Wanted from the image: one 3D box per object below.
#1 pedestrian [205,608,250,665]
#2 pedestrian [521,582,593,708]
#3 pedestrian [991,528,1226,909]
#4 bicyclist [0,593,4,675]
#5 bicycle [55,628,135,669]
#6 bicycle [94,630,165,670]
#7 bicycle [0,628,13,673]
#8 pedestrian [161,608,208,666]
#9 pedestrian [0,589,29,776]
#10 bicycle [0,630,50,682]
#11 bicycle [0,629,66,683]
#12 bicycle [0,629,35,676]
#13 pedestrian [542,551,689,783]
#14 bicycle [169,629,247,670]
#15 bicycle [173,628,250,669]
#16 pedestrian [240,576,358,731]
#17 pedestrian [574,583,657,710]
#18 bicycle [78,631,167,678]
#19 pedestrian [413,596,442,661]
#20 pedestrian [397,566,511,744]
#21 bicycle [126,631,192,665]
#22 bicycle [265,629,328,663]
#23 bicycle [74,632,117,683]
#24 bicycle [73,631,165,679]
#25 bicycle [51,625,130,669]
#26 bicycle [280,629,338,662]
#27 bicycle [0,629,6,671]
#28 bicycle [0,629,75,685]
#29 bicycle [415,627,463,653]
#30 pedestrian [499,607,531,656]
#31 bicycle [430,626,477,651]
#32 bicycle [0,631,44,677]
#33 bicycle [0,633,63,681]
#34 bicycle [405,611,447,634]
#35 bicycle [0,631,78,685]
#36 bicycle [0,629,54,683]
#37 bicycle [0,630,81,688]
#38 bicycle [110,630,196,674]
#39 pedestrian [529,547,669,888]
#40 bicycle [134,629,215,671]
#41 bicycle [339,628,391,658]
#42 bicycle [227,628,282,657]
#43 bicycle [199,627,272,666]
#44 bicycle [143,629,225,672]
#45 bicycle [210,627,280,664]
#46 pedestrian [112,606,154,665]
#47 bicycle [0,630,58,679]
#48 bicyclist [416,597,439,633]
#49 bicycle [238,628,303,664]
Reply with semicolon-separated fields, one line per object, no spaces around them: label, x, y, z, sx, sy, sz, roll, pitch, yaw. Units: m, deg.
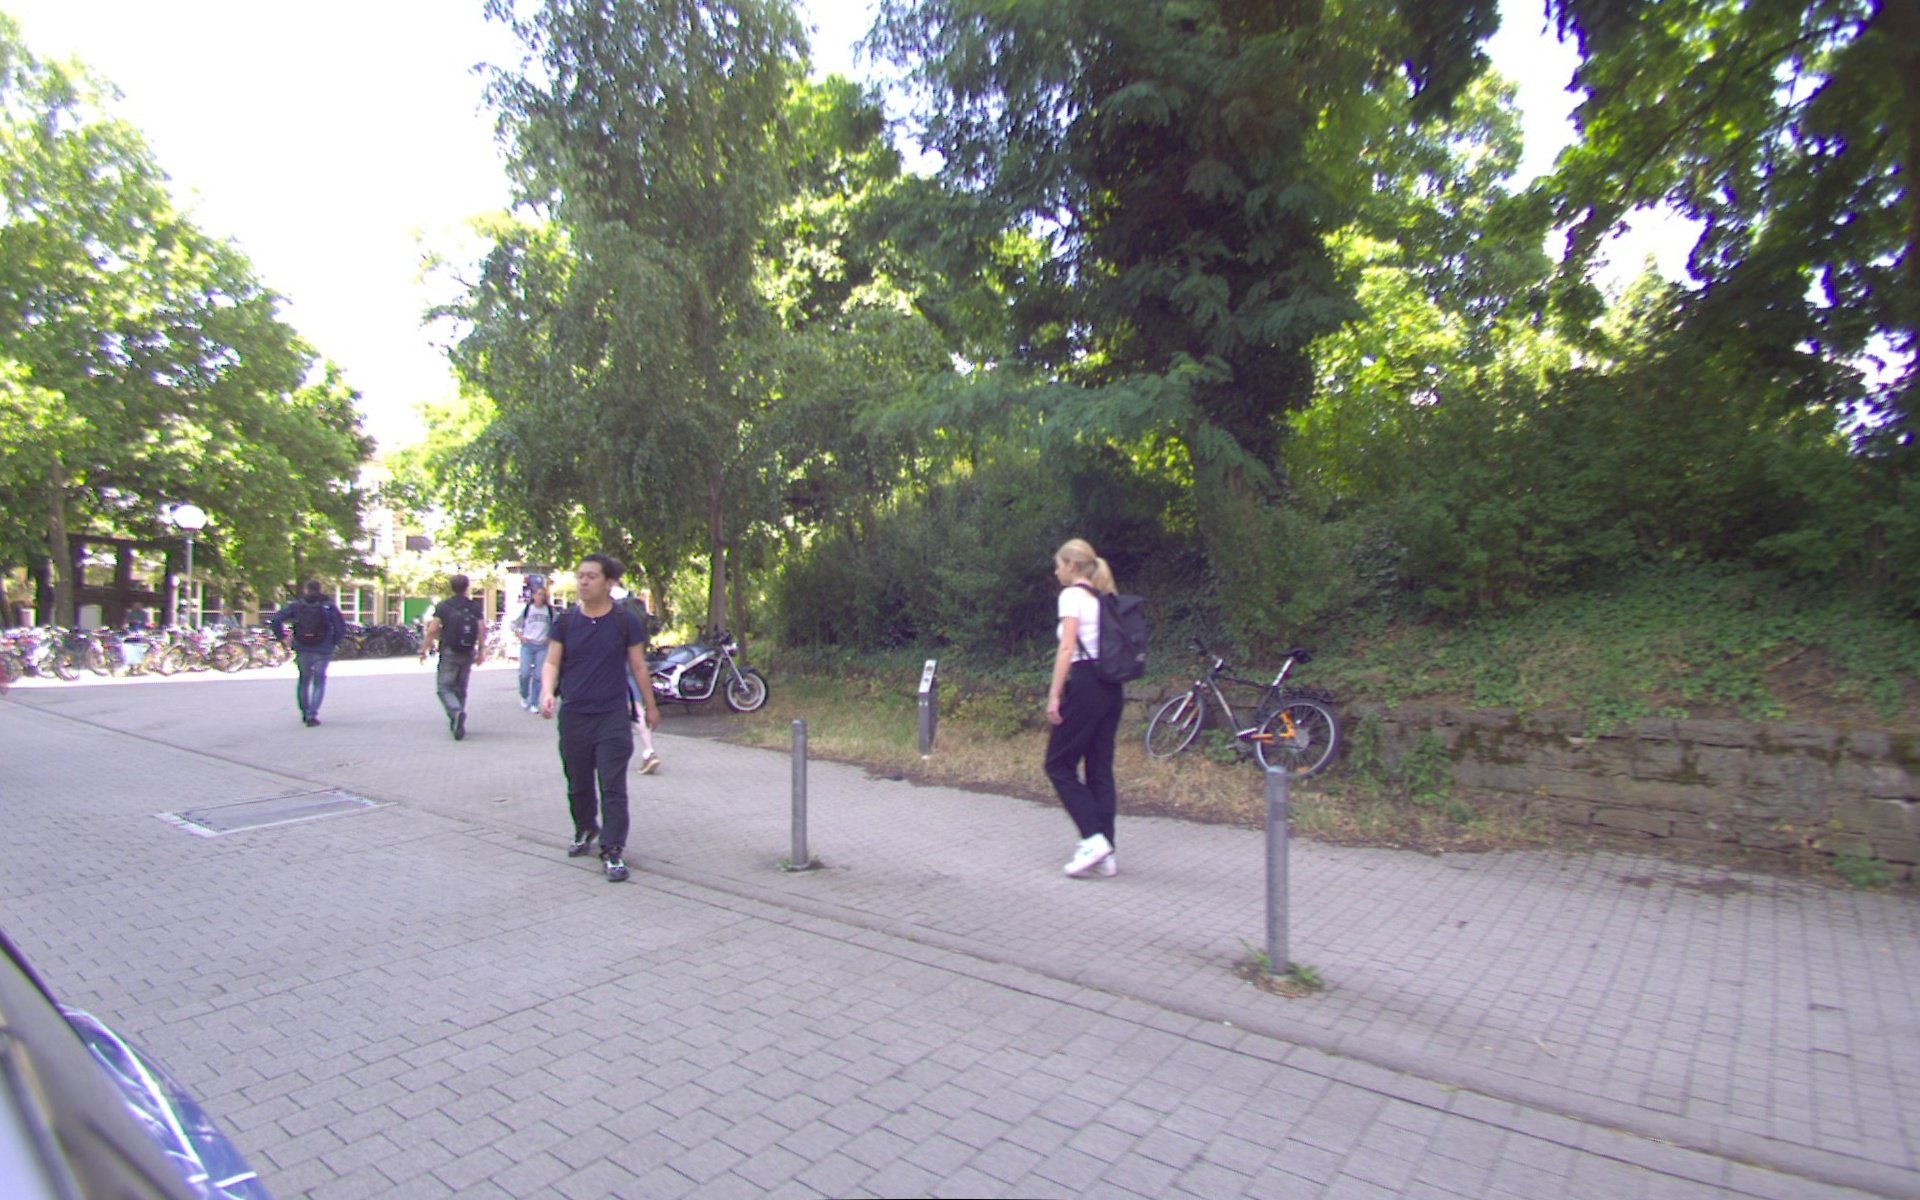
pedestrian;-22.442;1.109;31.023;0.892;1.716;0.772;0;-1;-12
pedestrian;-5.684;0.631;14.309;0.721;1.737;0.686;-1;-2;2
pedestrian;0.762;0.541;5.196;0.999;1.741;0.677;0;0;34
bicyclist;-18.827;0.653;19.333;0.709;1.580;0.597;0;-1;-34
bicycle;-24.653;1.364;28.878;0.500;1.116;1.684;-1;-1;27
bicycle;-26.441;1.581;32.239;1.671;1.209;0.577;0;-1;-16
bicycle;-26.066;1.350;26.569;0.534;1.208;1.682;-1;-1;30
pedestrian;-23.401;1.097;30.538;0.892;1.716;0.772;0;-1;-15
pedestrian;-9.246;0.763;9.233;0.707;1.737;1.068;0;-2;-19
bicycle;-22.094;1.297;23.293;0.471;1.177;1.687;-1;-1;21
bicycle;-21.098;1.246;22.536;1.753;1.177;0.475;0;-1;-39
bicycle;-24.839;1.351;25.898;0.472;1.196;1.684;-1;-1;27
pedestrian;-3.019;0.551;8.870;1.079;1.895;0.718;0;-1;34
bicycle;-20.866;1.366;28.103;1.671;1.092;0.475;0;-1;-16
bicycle;-21.087;1.356;28.537;1.671;1.092;0.475;0;-1;-16
pedestrian;-8.327;0.650;12.804;0.875;1.872;1.034;-1;-1;-6
pedestrian;-4.818;0.646;14.196;0.925;1.737;0.677;-1;-2;2
bicycle;-20.714;1.327;25.070;1.672;1.092;0.475;0;-1;-39
pedestrian;-15.360;0.824;29.227;0.603;1.849;1.053;0;-1;-21
pedestrian;-5.669;0.586;11.333;1.118;1.887;0.677;0;-1;34
bicycle;-26.721;1.598;33.789;1.671;1.116;0.504;0;-1;-16
bicycle;-21.656;1.505;33.054;1.673;1.092;0.475;0;-1;-7
bicycle;-19.604;1.287;22.937;1.699;1.092;0.501;-1;-1;42
bicycle;-20.052;1.302;24.176;1.672;1.092;0.475;0;-1;-40
bicycle;-25.417;1.350;29.618;0.500;1.229;1.684;-1;-1;27
bicycle;-22.039;1.520;34.259;1.676;1.092;0.474;0;-1;1
bicycle;-27.138;1.389;27.517;0.471;1.154;1.684;-1;-1;26
bicycle;-20.418;1.232;22.025;0.472;1.177;1.681;-1;-1;32
bicycle;-22.531;1.729;43.744;1.833;1.092;0.474;0;-1;1
pedestrian;-16.626;1.169;37.846;0.823;1.829;0.882;-1;-1;1
bicycle;-22.387;1.706;44.729;1.833;1.092;0.474;0;-1;1
bicycle;-23.850;1.341;25.120;0.469;1.116;1.694;-1;-1;11
bicycle;-22.502;1.350;24.223;0.468;1.070;1.698;0;-1;3
bicycle;-29.527;1.244;55.972;1.857;1.180;0.806;-3;-1;-8
bicycle;-19.880;1.228;21.478;0.472;1.099;1.681;-1;-1;32
bicycle;-21.688;1.268;22.934;0.471;1.177;1.685;-1;-1;25
bicycle;-19.529;1.218;21.167;0.472;1.168;1.682;-1;-1;29
bicycle;-20.771;1.329;26.078;1.670;1.092;0.475;0;-1;-16
pedestrian;-2.016;0.601;5.706;0.674;1.737;0.907;-1;-1;-18
bicycle;-21.246;1.349;27.396;1.670;1.092;0.475;0;-1;-20
bicycle;-22.164;1.597;37.717;1.676;1.092;0.474;0;-1;1
bicycle;-27.059;1.623;38.833;1.755;1.116;0.503;0;-1;1
bicycle;-21.251;1.360;29.710;1.671;1.092;0.475;0;-1;-16
bicycle;-20.736;1.336;27.056;1.670;1.092;0.475;0;-1;-21
bicycle;-21.697;1.371;30.735;1.671;1.092;0.475;0;-1;-16
pedestrian;-25.908;1.116;31.712;0.701;1.820;0.769;-1;-1;5
bicycle;-23.398;1.343;25.031;0.469;1.166;1.694;-1;-1;11
bicyclist;-29.443;0.835;55.933;0.854;1.905;0.807;-1;2;-8
bicycle;-21.664;1.441;31.814;1.673;1.092;0.475;0;-1;-7
